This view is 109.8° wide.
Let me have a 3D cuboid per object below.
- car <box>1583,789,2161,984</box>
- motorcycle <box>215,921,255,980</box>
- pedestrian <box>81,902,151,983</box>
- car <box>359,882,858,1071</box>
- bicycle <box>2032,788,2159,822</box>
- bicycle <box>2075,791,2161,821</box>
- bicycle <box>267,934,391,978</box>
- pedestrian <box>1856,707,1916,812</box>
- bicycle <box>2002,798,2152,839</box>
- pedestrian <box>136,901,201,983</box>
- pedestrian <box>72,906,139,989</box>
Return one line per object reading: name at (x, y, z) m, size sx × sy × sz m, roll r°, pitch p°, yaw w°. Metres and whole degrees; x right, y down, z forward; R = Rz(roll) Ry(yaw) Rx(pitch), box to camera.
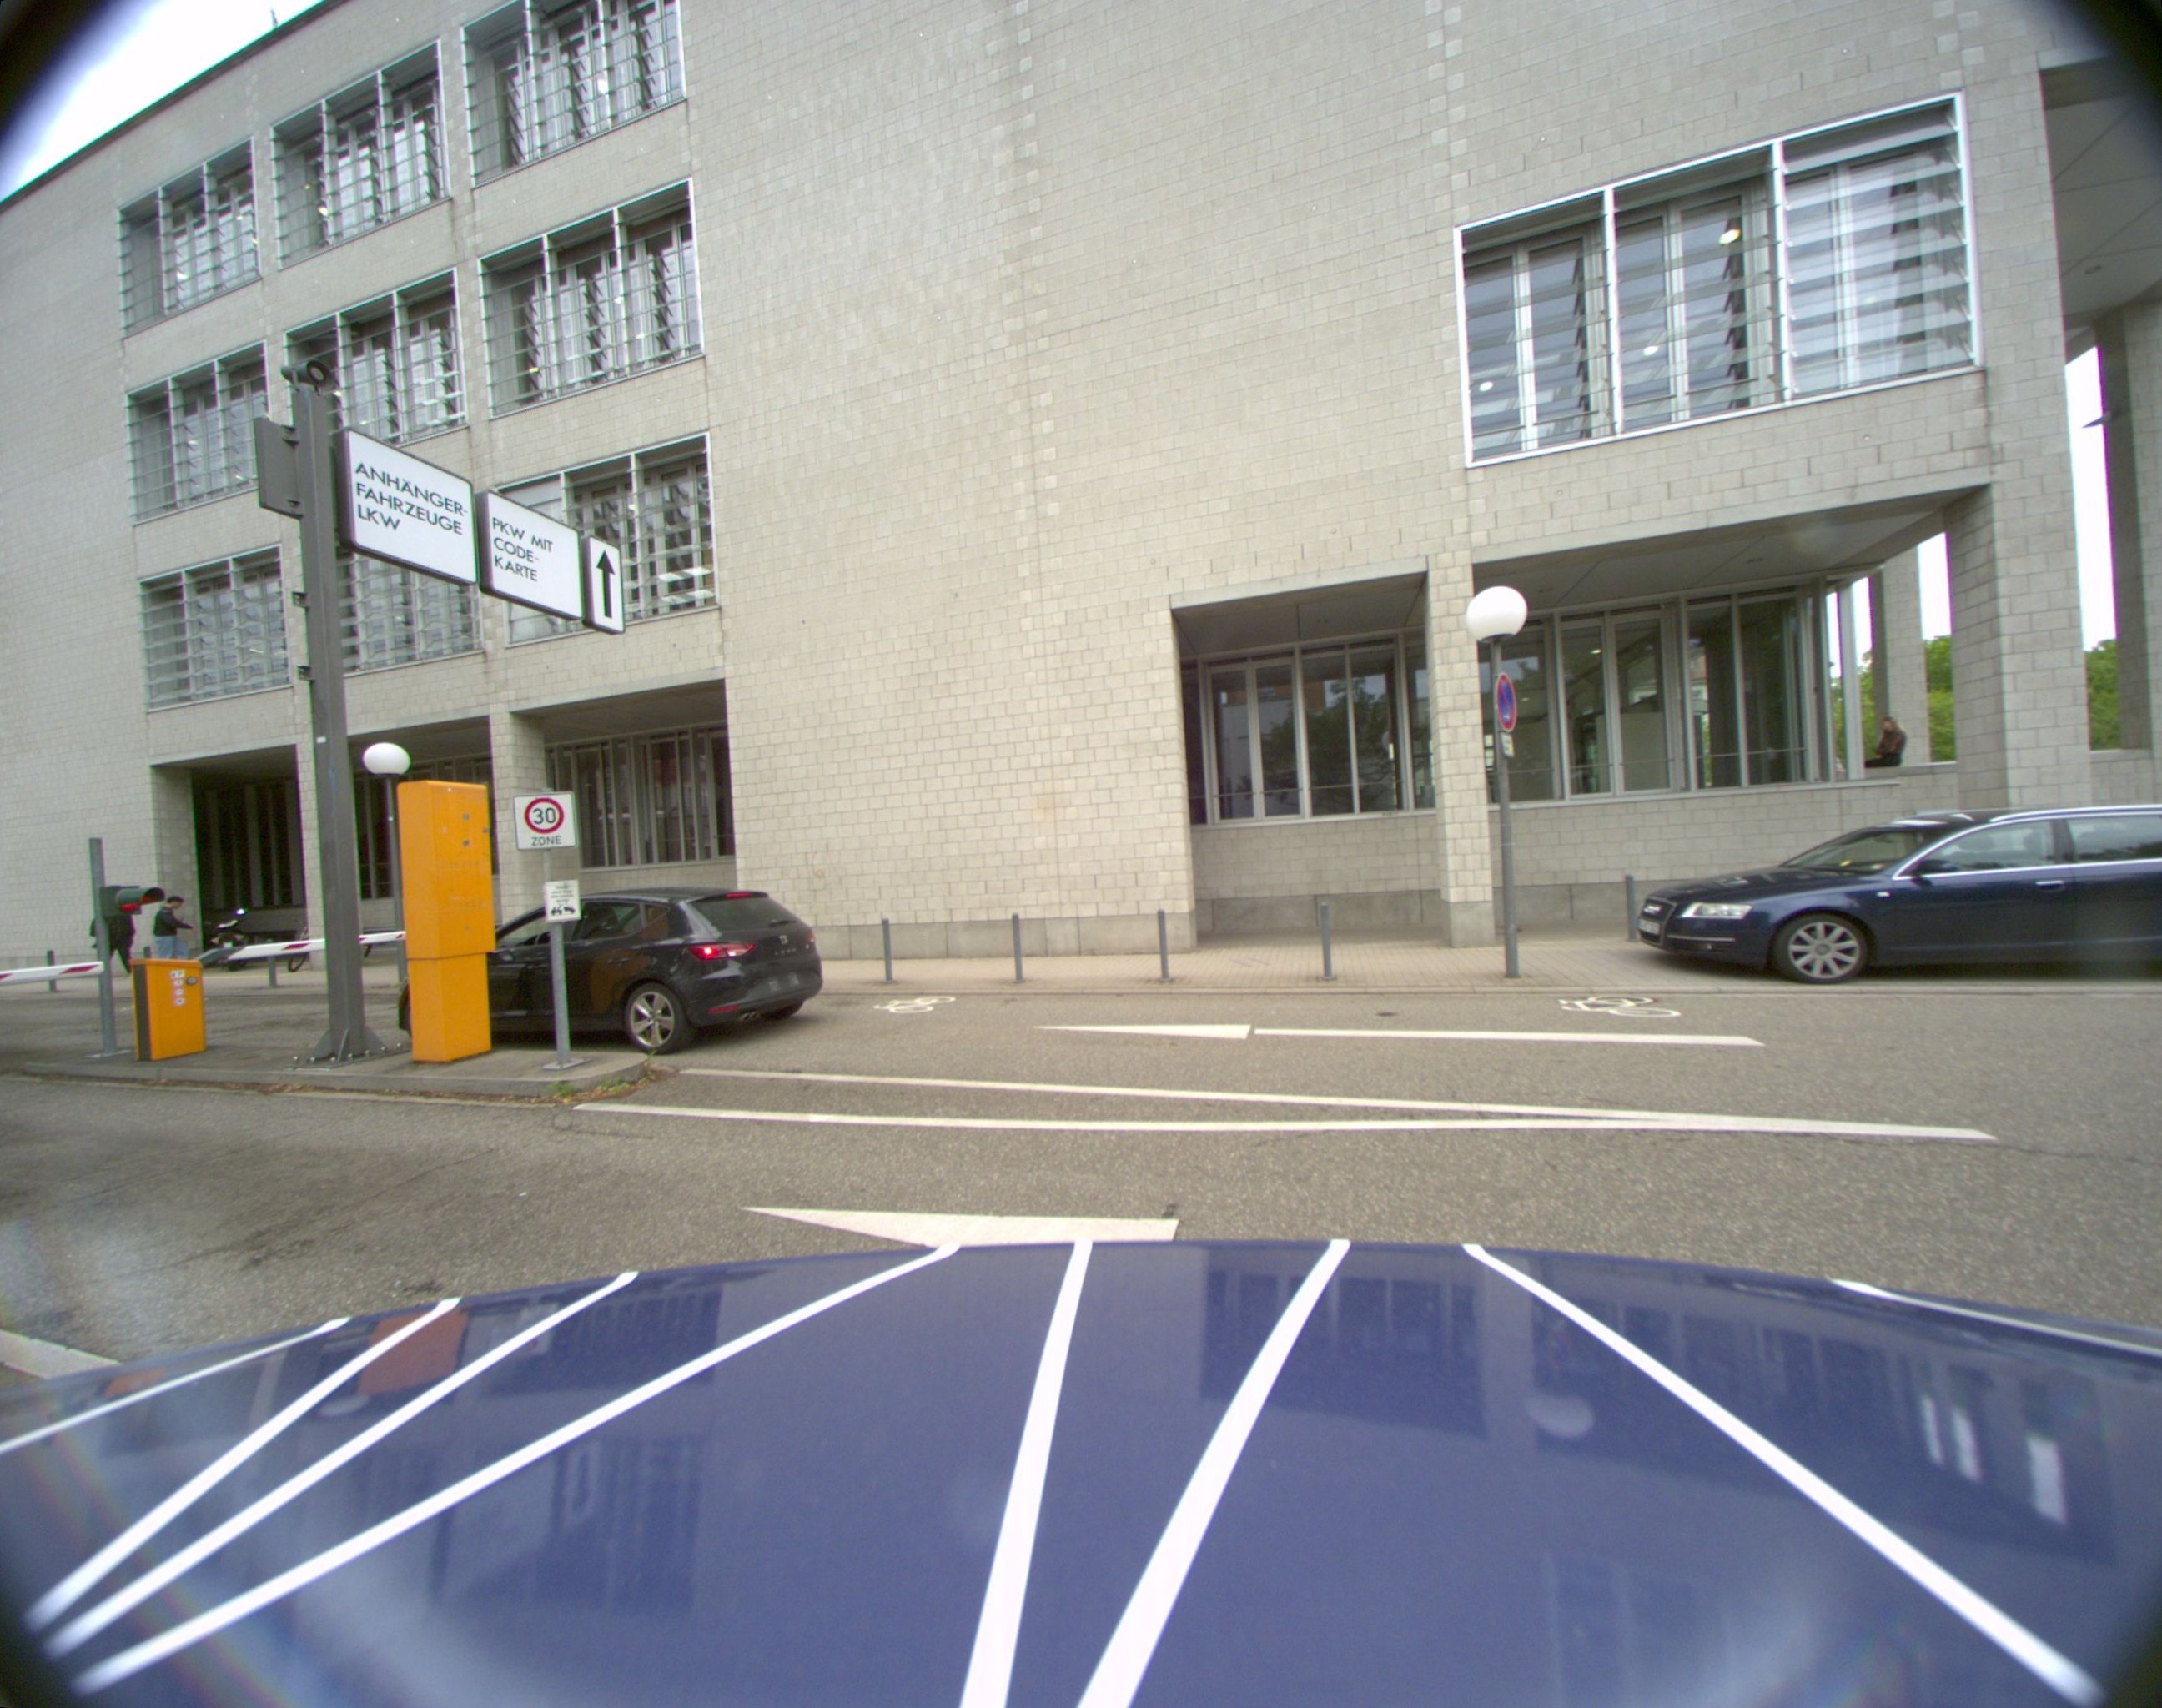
car at (7.920, 0.276, 7.143) m, size 4.913 × 1.444 × 2.002 m, roll -4°, pitch 1°, yaw 17°
motorcycle at (-19.308, 2.175, 17.344) m, size 2.210 × 1.141 × 0.568 m, roll -1°, pitch 0°, yaw 42°
pedestrian at (-21.050, 1.913, 16.582) m, size 0.587 × 1.689 × 0.731 m, roll -1°, pitch 0°, yaw 12°
car at (-4.533, 1.114, 7.441) m, size 4.122 × 1.411 × 1.790 m, roll -3°, pitch 0°, yaw 16°
bicycle at (46.566, -2.232, 34.932) m, size 3.387 × 1.163 × 1.057 m, roll -5°, pitch 0°, yaw 23°
bicycle at (45.657, -2.070, 32.723) m, size 3.386 × 1.163 × 1.057 m, roll -1°, pitch 0°, yaw 23°
bicycle at (-16.207, 2.170, 16.449) m, size 0.492 × 0.695 × 1.905 m, roll -1°, pitch 0°, yaw 14°
pedestrian at (13.566, -1.560, 12.823) m, size 0.629 × 1.649 × 0.808 m, roll -1°, pitch 1°, yaw 42°
bicycle at (31.900, -1.116, 24.394) m, size 3.101 × 1.163 × 0.623 m, roll -1°, pitch 0°, yaw 19°
pedestrian at (-19.751, 1.893, 16.447) m, size 0.587 × 1.689 × 0.693 m, roll -1°, pitch 0°, yaw 17°
pedestrian at (-21.162, 2.029, 16.492) m, size 0.573 × 1.705 × 0.614 m, roll -3°, pitch 2°, yaw 17°
